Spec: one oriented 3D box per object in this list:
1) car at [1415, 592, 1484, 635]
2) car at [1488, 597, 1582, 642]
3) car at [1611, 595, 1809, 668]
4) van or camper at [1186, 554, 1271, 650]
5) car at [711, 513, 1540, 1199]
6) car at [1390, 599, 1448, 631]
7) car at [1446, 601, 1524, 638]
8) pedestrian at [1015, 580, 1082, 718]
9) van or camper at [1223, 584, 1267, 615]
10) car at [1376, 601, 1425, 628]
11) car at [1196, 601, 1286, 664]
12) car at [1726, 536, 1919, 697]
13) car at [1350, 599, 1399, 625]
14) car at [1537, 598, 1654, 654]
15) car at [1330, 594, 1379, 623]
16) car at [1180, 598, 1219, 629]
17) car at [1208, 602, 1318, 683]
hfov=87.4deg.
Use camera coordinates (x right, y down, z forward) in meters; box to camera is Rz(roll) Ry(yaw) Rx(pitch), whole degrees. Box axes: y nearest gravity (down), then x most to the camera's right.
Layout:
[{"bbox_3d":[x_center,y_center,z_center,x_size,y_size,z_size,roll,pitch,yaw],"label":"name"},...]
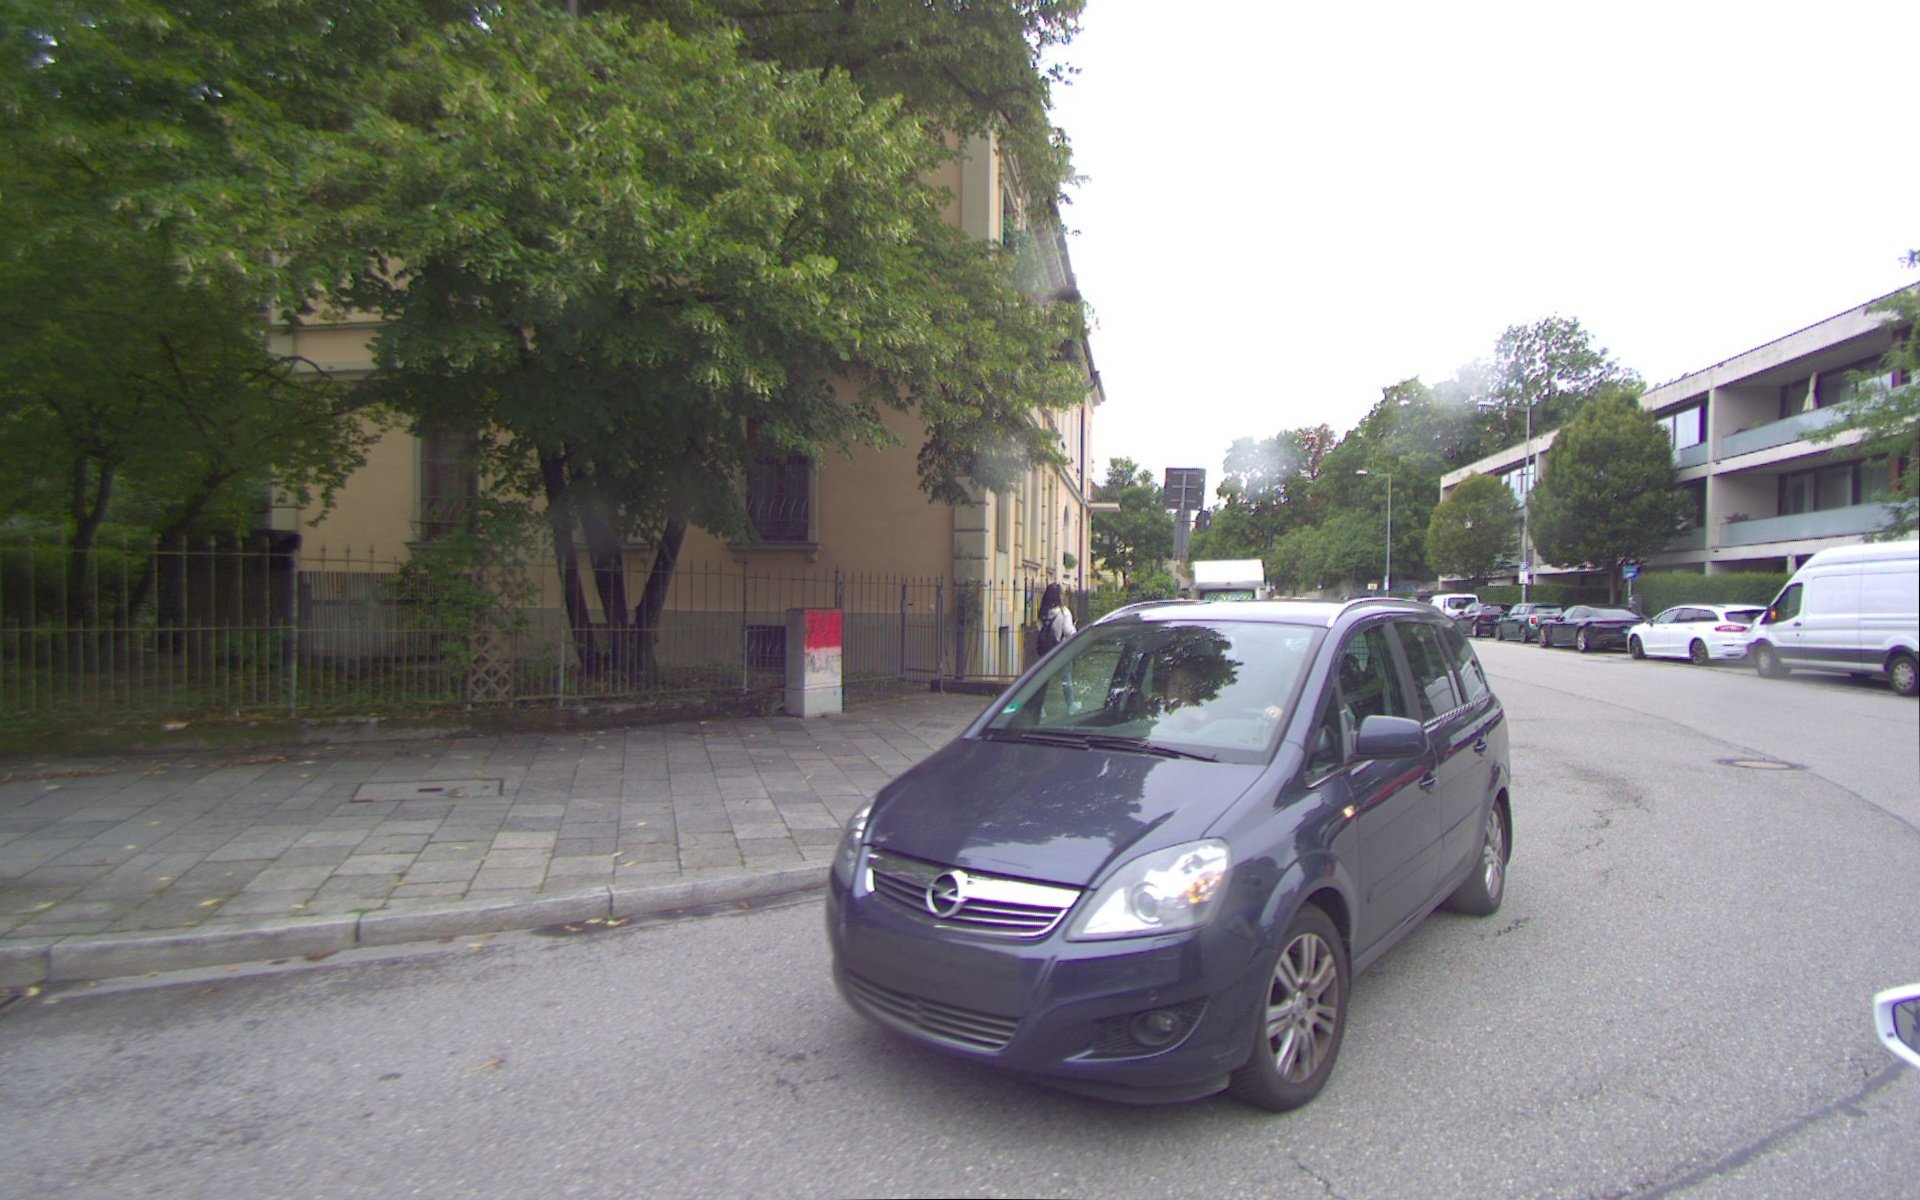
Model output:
[{"bbox_3d":[23.436,0.595,48.255,1.791,1.885,4.900,2,1,12],"label":"car"},{"bbox_3d":[21.220,0.689,37.252,1.697,1.549,4.206,-1,0,10],"label":"car"},{"bbox_3d":[19.015,0.715,25.799,1.839,1.590,5.004,-2,1,7],"label":"car"},{"bbox_3d":[9.193,0.056,34.975,2.413,2.980,7.215,-1,0,12],"label":"van or camper"},{"bbox_3d":[1.206,0.726,4.709,1.970,1.715,4.315,-2,-2,39],"label":"car"},{"bbox_3d":[24.299,0.760,53.341,1.718,1.500,4.600,1,1,10],"label":"car"},{"bbox_3d":[22.140,0.785,42.517,1.718,1.483,4.245,0,0,10],"label":"car"},{"bbox_3d":[1.100,0.578,12.388,0.642,1.625,0.740,2,1,15],"label":"pedestrian"},{"bbox_3d":[28.391,-0.089,100.356,2.235,2.945,7.275,1,0,-1],"label":"van or camper"},{"bbox_3d":[25.319,0.813,57.849,1.718,1.500,3.890,1,0,10],"label":"car"},{"bbox_3d":[7.772,0.842,28.203,1.903,1.528,4.824,-2,0,10],"label":"car"},{"bbox_3d":[17.617,0.222,19.226,2.044,2.722,6.091,-1,1,9],"label":"car"},{"bbox_3d":[26.147,0.747,63.518,1.718,1.560,4.572,1,0,8],"label":"car"},{"bbox_3d":[20.051,0.757,31.926,1.259,1.526,5.210,-2,1,10],"label":"car"},{"bbox_3d":[26.963,0.587,68.829,1.954,1.896,5.081,1,0,8],"label":"car"},{"bbox_3d":[12.835,0.706,53.994,1.814,1.555,4.444,-2,-1,11],"label":"car"},{"bbox_3d":[6.645,0.866,22.437,1.903,1.555,4.533,-2,0,12],"label":"car"}]
